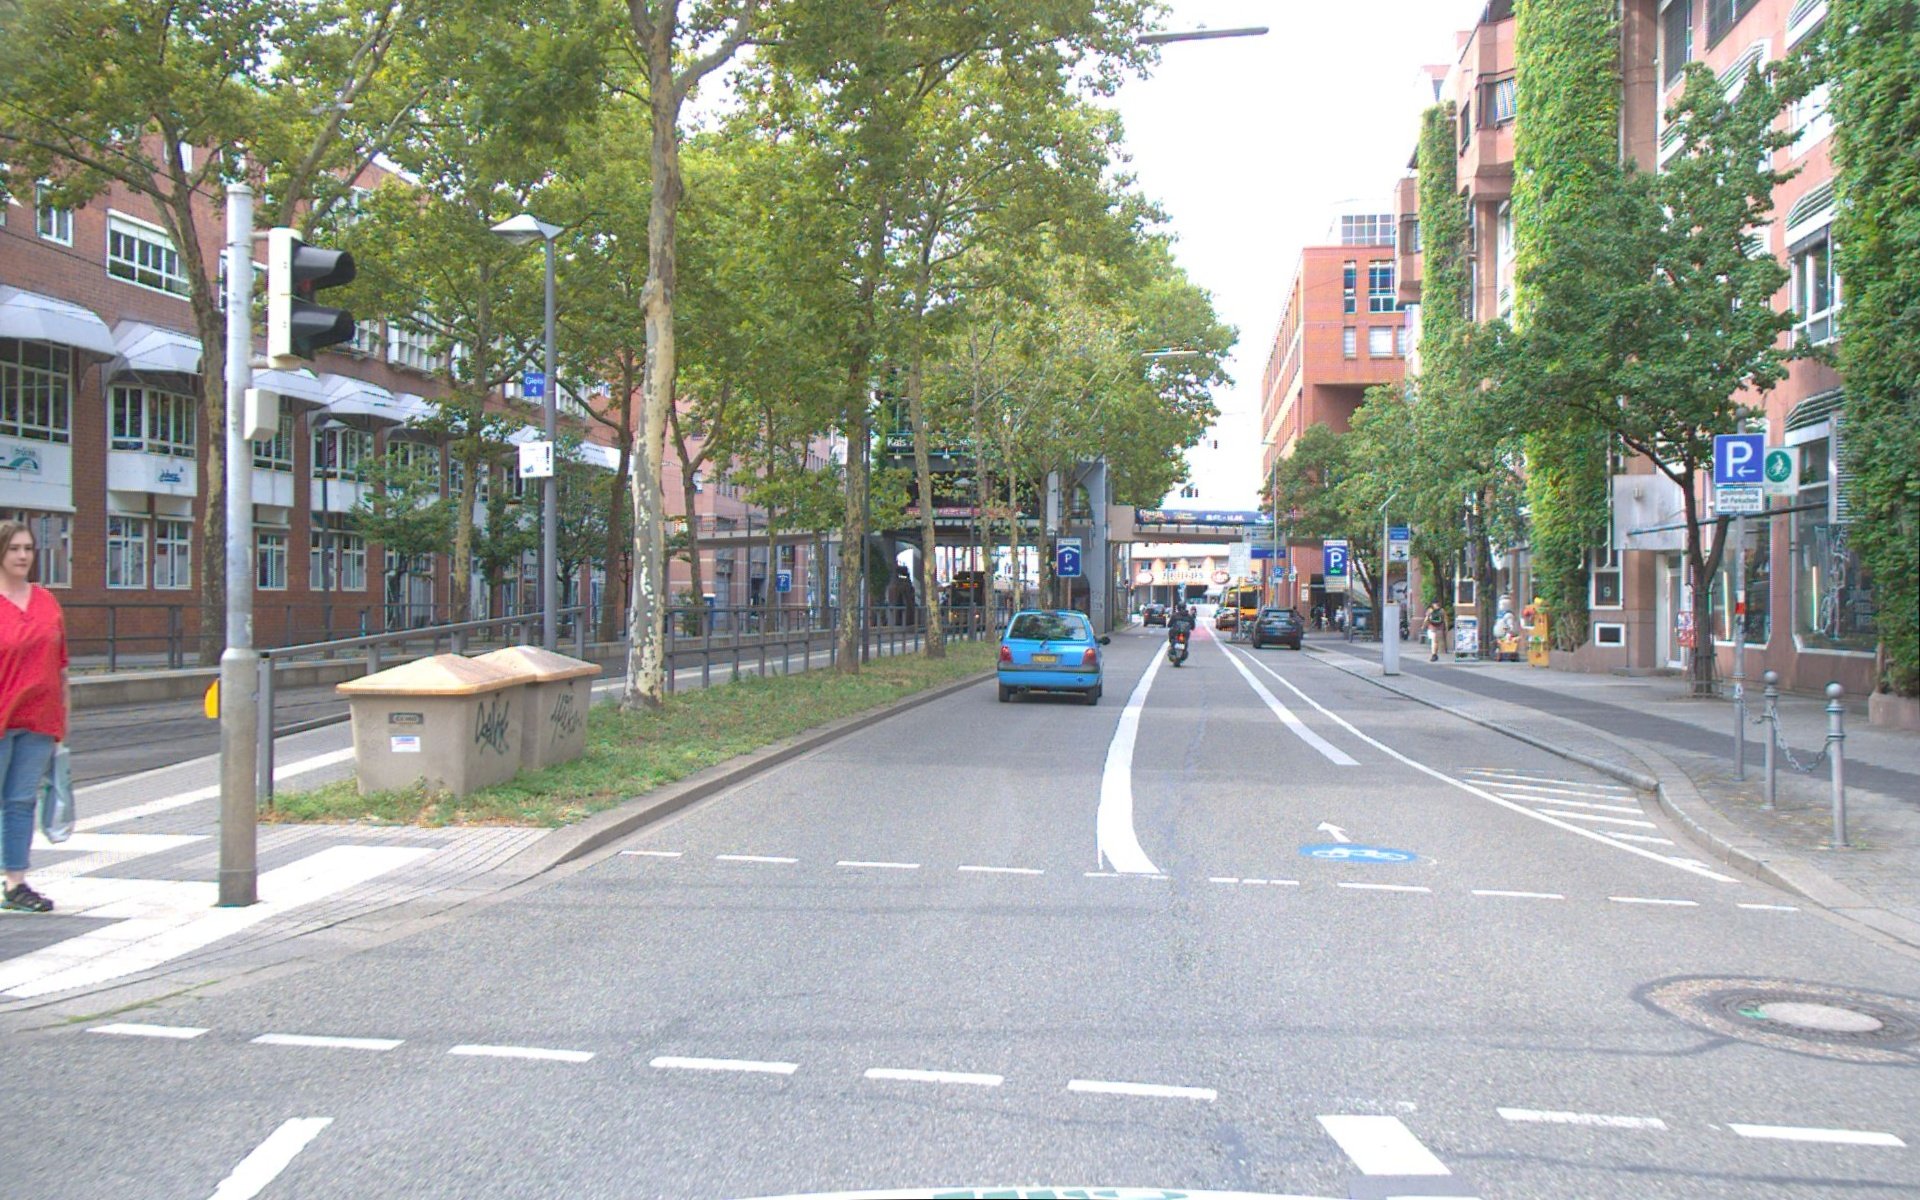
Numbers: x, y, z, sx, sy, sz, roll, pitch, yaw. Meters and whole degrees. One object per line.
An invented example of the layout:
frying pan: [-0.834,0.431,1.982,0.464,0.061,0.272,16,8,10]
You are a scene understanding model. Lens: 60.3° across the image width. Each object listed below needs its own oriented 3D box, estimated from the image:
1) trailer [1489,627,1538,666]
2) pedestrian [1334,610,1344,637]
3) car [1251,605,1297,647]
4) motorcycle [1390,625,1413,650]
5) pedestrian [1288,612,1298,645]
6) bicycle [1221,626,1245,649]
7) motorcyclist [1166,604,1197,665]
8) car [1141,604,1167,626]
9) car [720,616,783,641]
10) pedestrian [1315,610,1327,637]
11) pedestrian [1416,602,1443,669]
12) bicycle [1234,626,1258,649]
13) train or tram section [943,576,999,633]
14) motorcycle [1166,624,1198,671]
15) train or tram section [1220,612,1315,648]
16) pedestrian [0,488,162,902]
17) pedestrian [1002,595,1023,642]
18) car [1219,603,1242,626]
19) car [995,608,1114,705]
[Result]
trailer: [15.739,1.310,47.032,0.973,1.077,1.605,0,-1,32]
pedestrian: [22.485,1.379,98.126,0.534,1.589,0.615,0,0,8]
car: [12.447,1.002,65.660,1.662,1.629,4.003,0,0,9]
motorcycle: [21.465,1.814,80.404,0.740,1.156,2.437,0,0,7]
pedestrian: [18.278,1.559,90.824,0.499,1.790,0.539,0,-1,8]
bicycle: [12.710,1.759,77.135,0.552,1.026,2.006,0,0,-7]
motorcyclist: [5.673,0.870,42.358,0.743,1.546,1.018,-1,-1,6]
car: [15.127,1.177,128.784,1.846,1.652,4.003,0,0,9]
car: [-14.083,1.893,111.948,3.903,1.652,1.806,0,0,4]
pedestrian: [21.567,1.406,98.824,0.655,1.589,0.729,0,-1,4]
pedestrian: [13.361,1.010,47.080,0.633,1.891,0.783,0,-1,7]
bicycle: [13.350,1.741,77.220,0.552,1.026,2.006,0,0,-7]
train or tram section: [0.766,0.300,100.758,2.338,3.311,8.824,0,-1,7]
motorcycle: [5.667,1.200,42.279,0.751,1.126,2.209,-1,-1,6]
train or tram section: [29.420,2.848,158.316,8.634,3.311,2.389,0,-1,-12]
pedestrian: [-4.160,0.403,7.425,0.541,1.748,0.890,0,-1,23]
pedestrian: [2.113,0.748,66.462,0.712,1.891,0.871,0,-1,9]
car: [20.036,1.055,122.514,1.662,1.629,4.003,0,0,9]
car: [1.578,0.846,26.542,1.605,1.410,3.846,1,0,7]
